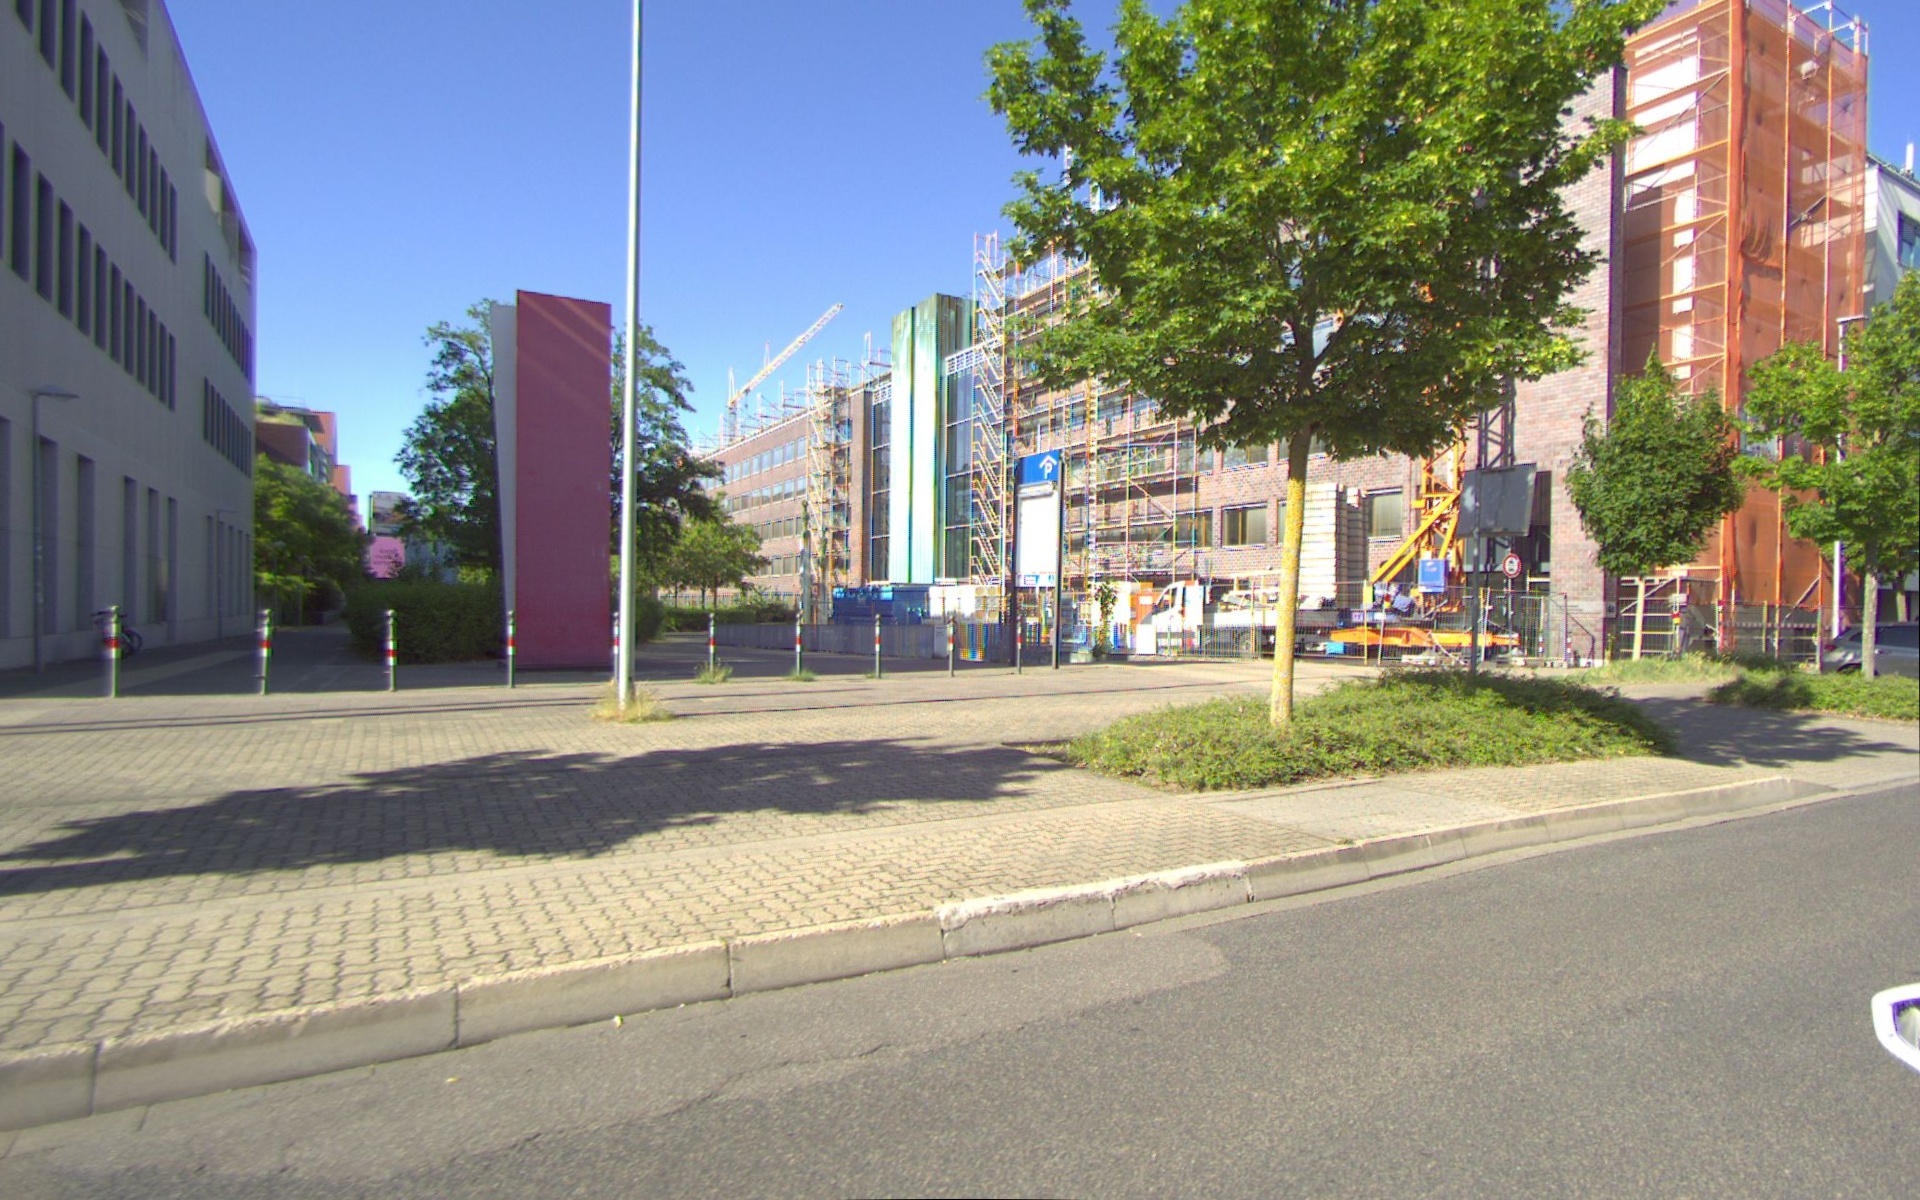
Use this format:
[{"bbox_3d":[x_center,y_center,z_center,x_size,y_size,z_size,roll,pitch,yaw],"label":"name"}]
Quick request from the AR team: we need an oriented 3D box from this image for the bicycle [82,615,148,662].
[{"bbox_3d":[-17.939,0.791,21.369,0.731,0.947,2.235,1,-1,-31],"label":"bicycle"}]

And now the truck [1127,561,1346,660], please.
[{"bbox_3d":[7.921,0.313,29.757,2.251,2.581,6.831,0,0,-28],"label":"truck"}]

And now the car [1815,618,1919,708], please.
[{"bbox_3d":[19.345,1.220,19.269,1.580,1.688,4.241,0,0,-30],"label":"car"}]

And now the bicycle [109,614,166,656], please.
[{"bbox_3d":[-19.645,0.815,24.031,0.731,0.947,2.235,0,0,-31],"label":"bicycle"}]

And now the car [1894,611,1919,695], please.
[{"bbox_3d":[23.252,1.187,21.605,1.795,1.886,4.314,0,0,-28],"label":"car"}]
